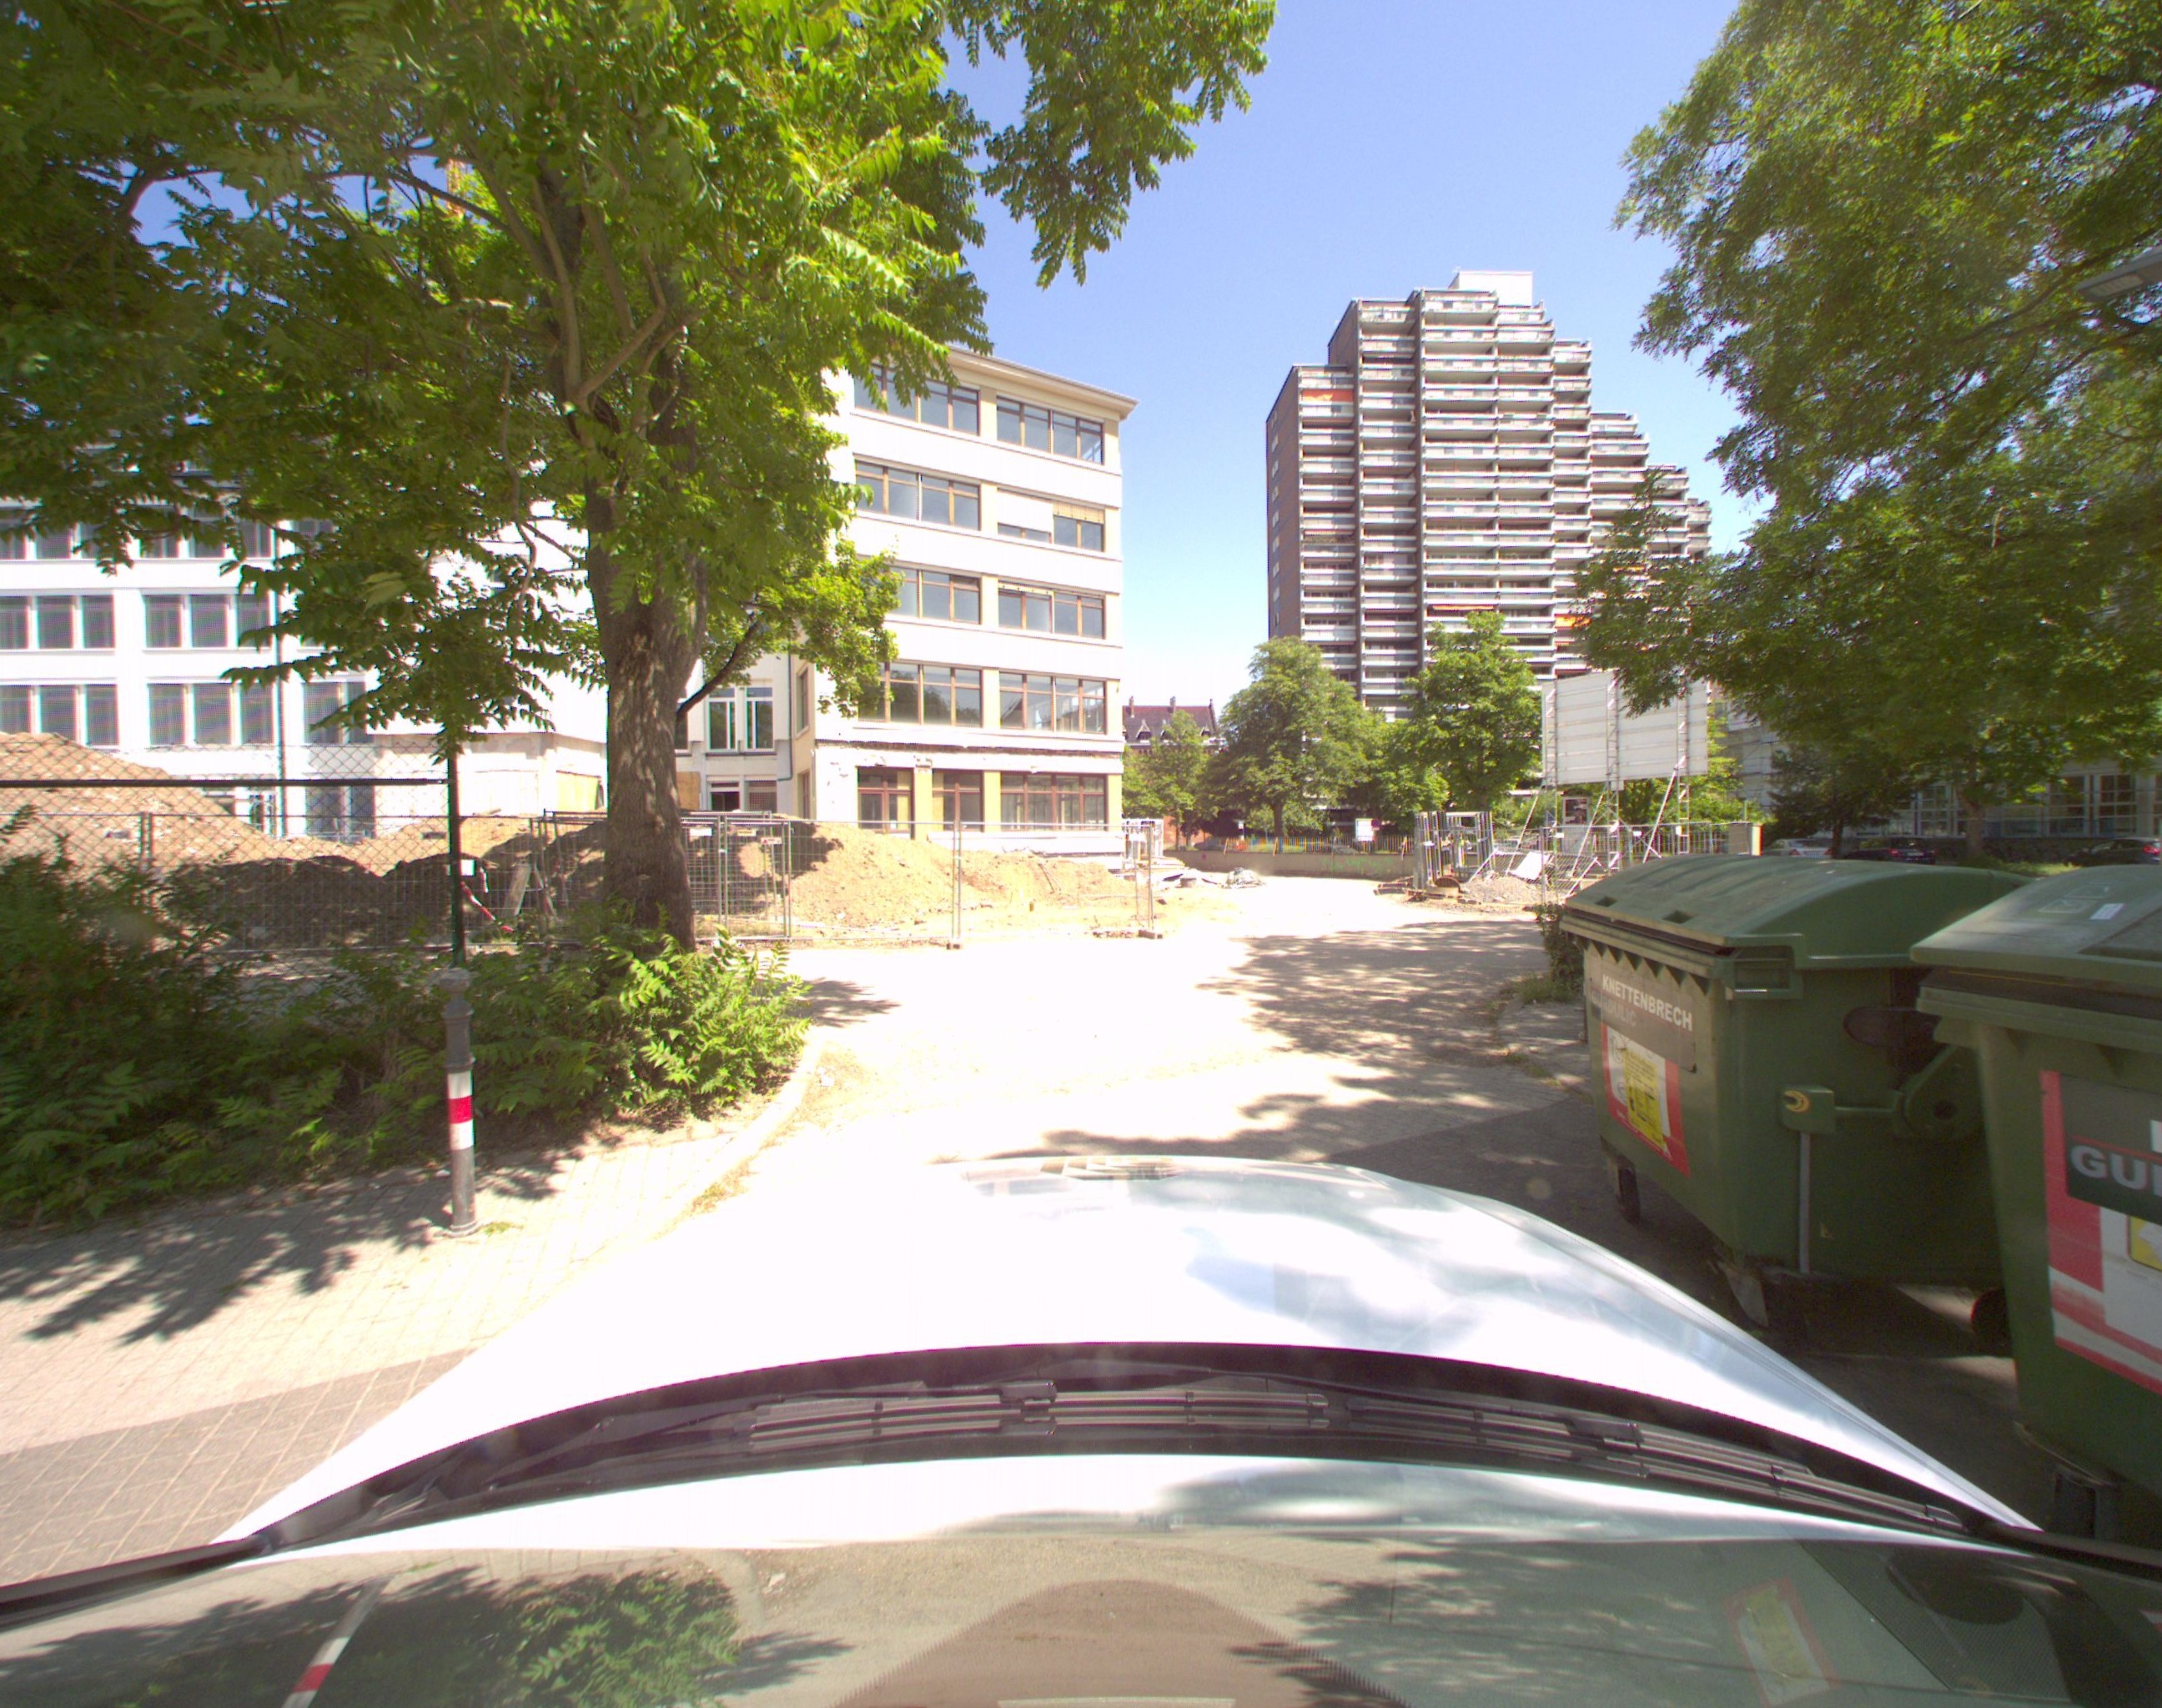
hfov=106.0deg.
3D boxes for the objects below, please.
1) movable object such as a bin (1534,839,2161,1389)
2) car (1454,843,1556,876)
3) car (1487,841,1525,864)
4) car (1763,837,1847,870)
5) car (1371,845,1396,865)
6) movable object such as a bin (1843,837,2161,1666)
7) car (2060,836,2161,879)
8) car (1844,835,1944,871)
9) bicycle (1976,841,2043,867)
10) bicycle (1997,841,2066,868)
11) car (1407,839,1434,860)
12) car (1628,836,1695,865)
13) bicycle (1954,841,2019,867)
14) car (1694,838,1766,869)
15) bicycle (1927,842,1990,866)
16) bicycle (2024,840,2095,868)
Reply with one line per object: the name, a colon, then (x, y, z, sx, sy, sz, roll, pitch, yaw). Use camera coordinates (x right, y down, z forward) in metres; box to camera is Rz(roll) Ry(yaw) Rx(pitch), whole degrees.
movable object such as a bin: (2.503, 0.698, 2.934, 1.171, 1.470, 1.337, 0, 0, 11)
car: (20.550, 0.232, 39.641, 1.769, 1.464, 4.107, -1, 1, -27)
car: (26.560, -0.122, 50.998, 1.619, 1.387, 3.697, -1, 0, 20)
car: (33.724, -0.024, 38.042, 1.620, 1.463, 3.696, -1, 0, 19)
car: (21.868, 0.029, 58.863, 1.619, 1.387, 3.697, -1, 0, 20)
movable object such as a bin: (2.508, 0.701, 1.394, 1.177, 1.470, 1.309, 0, 0, -5)
car: (38.360, 0.092, 29.646, 1.627, 1.463, 3.692, -1, 0, 14)
car: (35.136, -0.066, 35.314, 1.620, 1.463, 3.696, -1, 0, 19)
bicycle: (42.829, 0.000, 37.570, 2.372, 1.157, 0.782, -1, 0, -5)
bicycle: (42.854, 0.020, 36.721, 2.372, 1.157, 0.782, -1, 0, -5)
car: (23.795, -0.304, 57.154, 1.619, 1.387, 3.697, -1, 0, 20)
car: (30.191, -0.190, 42.462, 1.621, 1.463, 3.692, -1, 0, 15)
bicycle: (42.783, 0.003, 38.498, 2.372, 1.157, 0.782, -1, 0, -5)
car: (32.085, -0.046, 40.372, 1.620, 1.463, 3.696, -1, 0, 19)
bicycle: (42.702, -0.012, 39.629, 2.372, 1.157, 0.782, -1, 0, -5)
bicycle: (42.936, -0.006, 35.745, 2.420, 1.188, 0.782, -1, 0, -5)
